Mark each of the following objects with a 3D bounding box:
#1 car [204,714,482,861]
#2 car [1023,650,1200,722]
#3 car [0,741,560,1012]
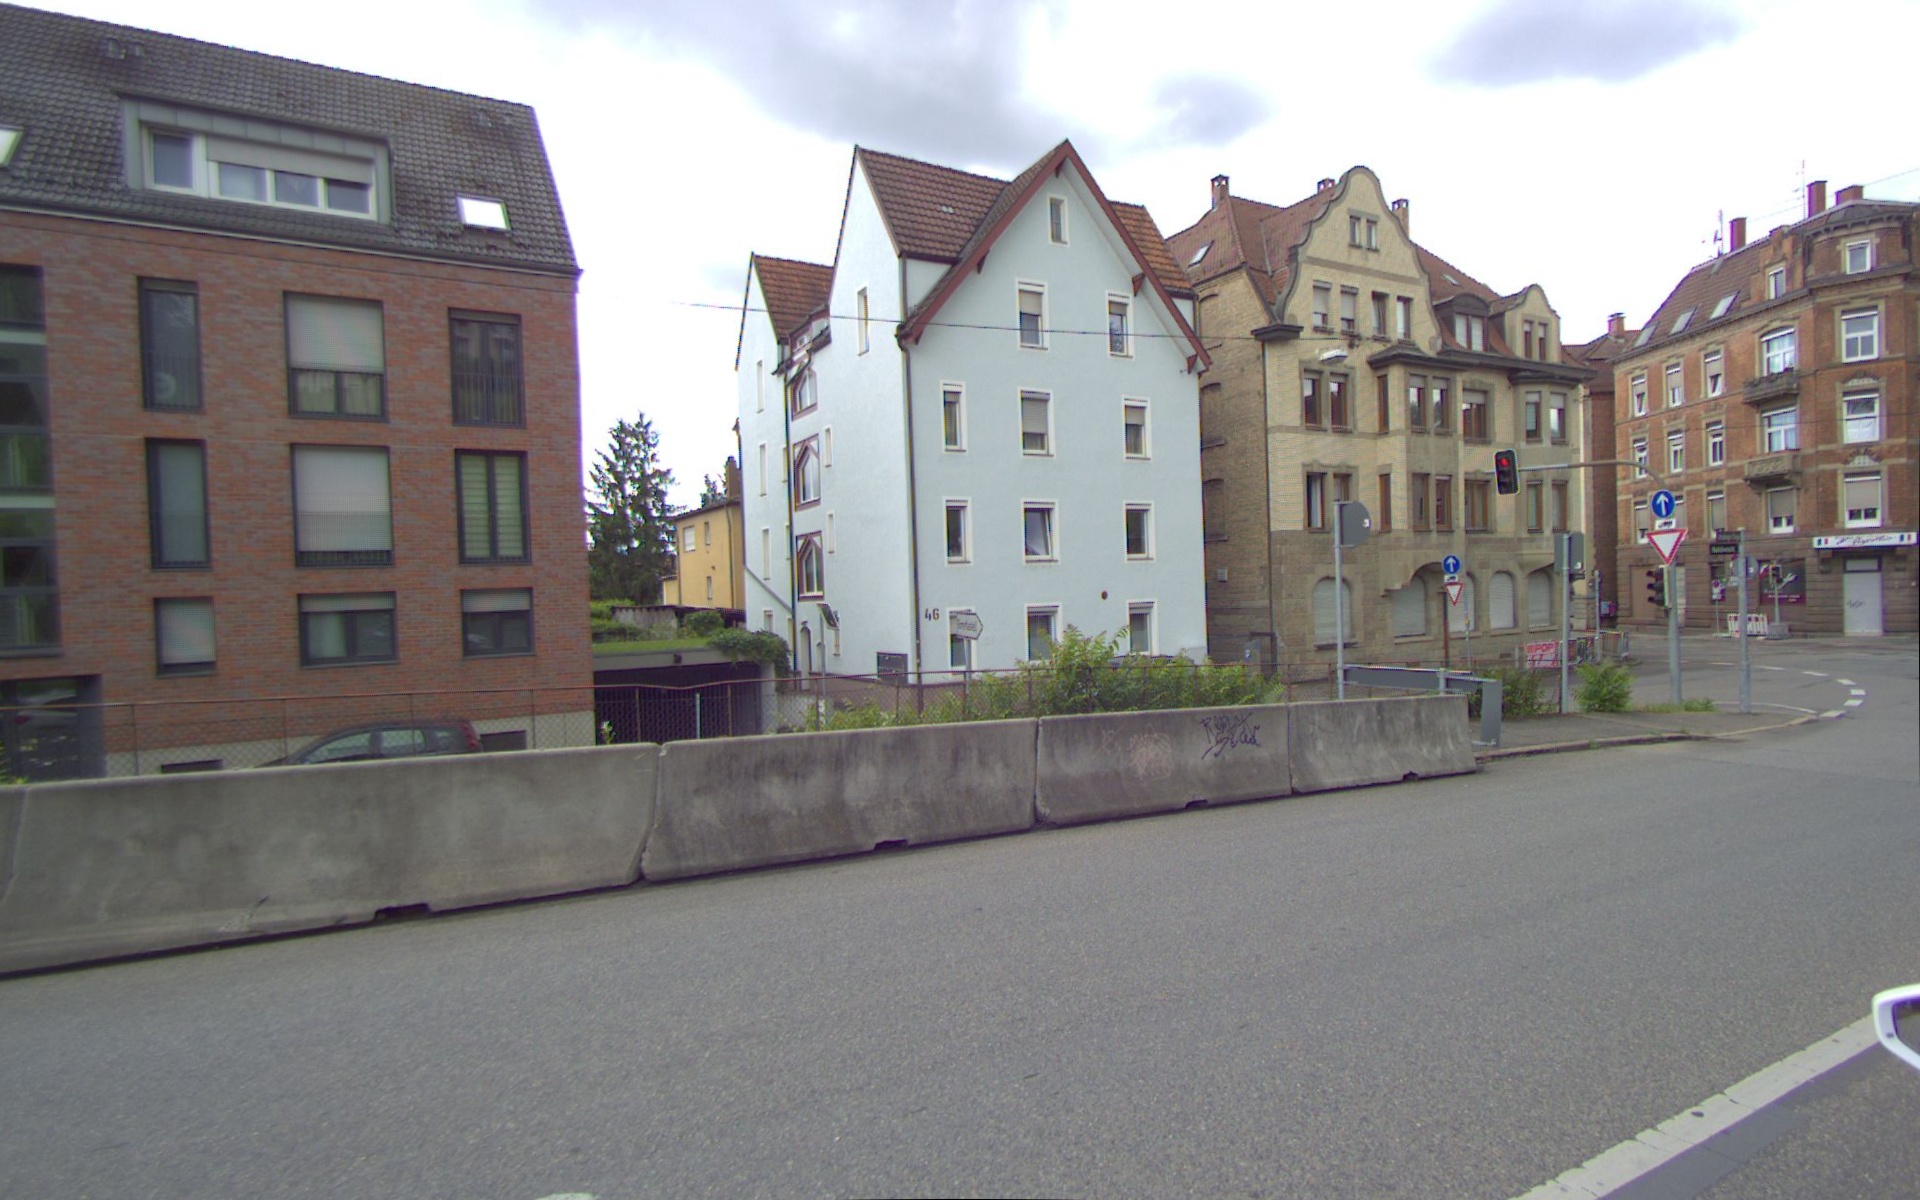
[{"bbox_3d":[-10.006,2.966,16.561,3.722,1.825,1.706,0,0,-30],"label":"car"},{"bbox_3d":[3.732,2.043,24.544,4.185,1.575,1.674,1,-3,-31],"label":"car"},{"bbox_3d":[-5.801,2.244,8.957,3.956,1.534,1.526,1,0,-33],"label":"car"}]
